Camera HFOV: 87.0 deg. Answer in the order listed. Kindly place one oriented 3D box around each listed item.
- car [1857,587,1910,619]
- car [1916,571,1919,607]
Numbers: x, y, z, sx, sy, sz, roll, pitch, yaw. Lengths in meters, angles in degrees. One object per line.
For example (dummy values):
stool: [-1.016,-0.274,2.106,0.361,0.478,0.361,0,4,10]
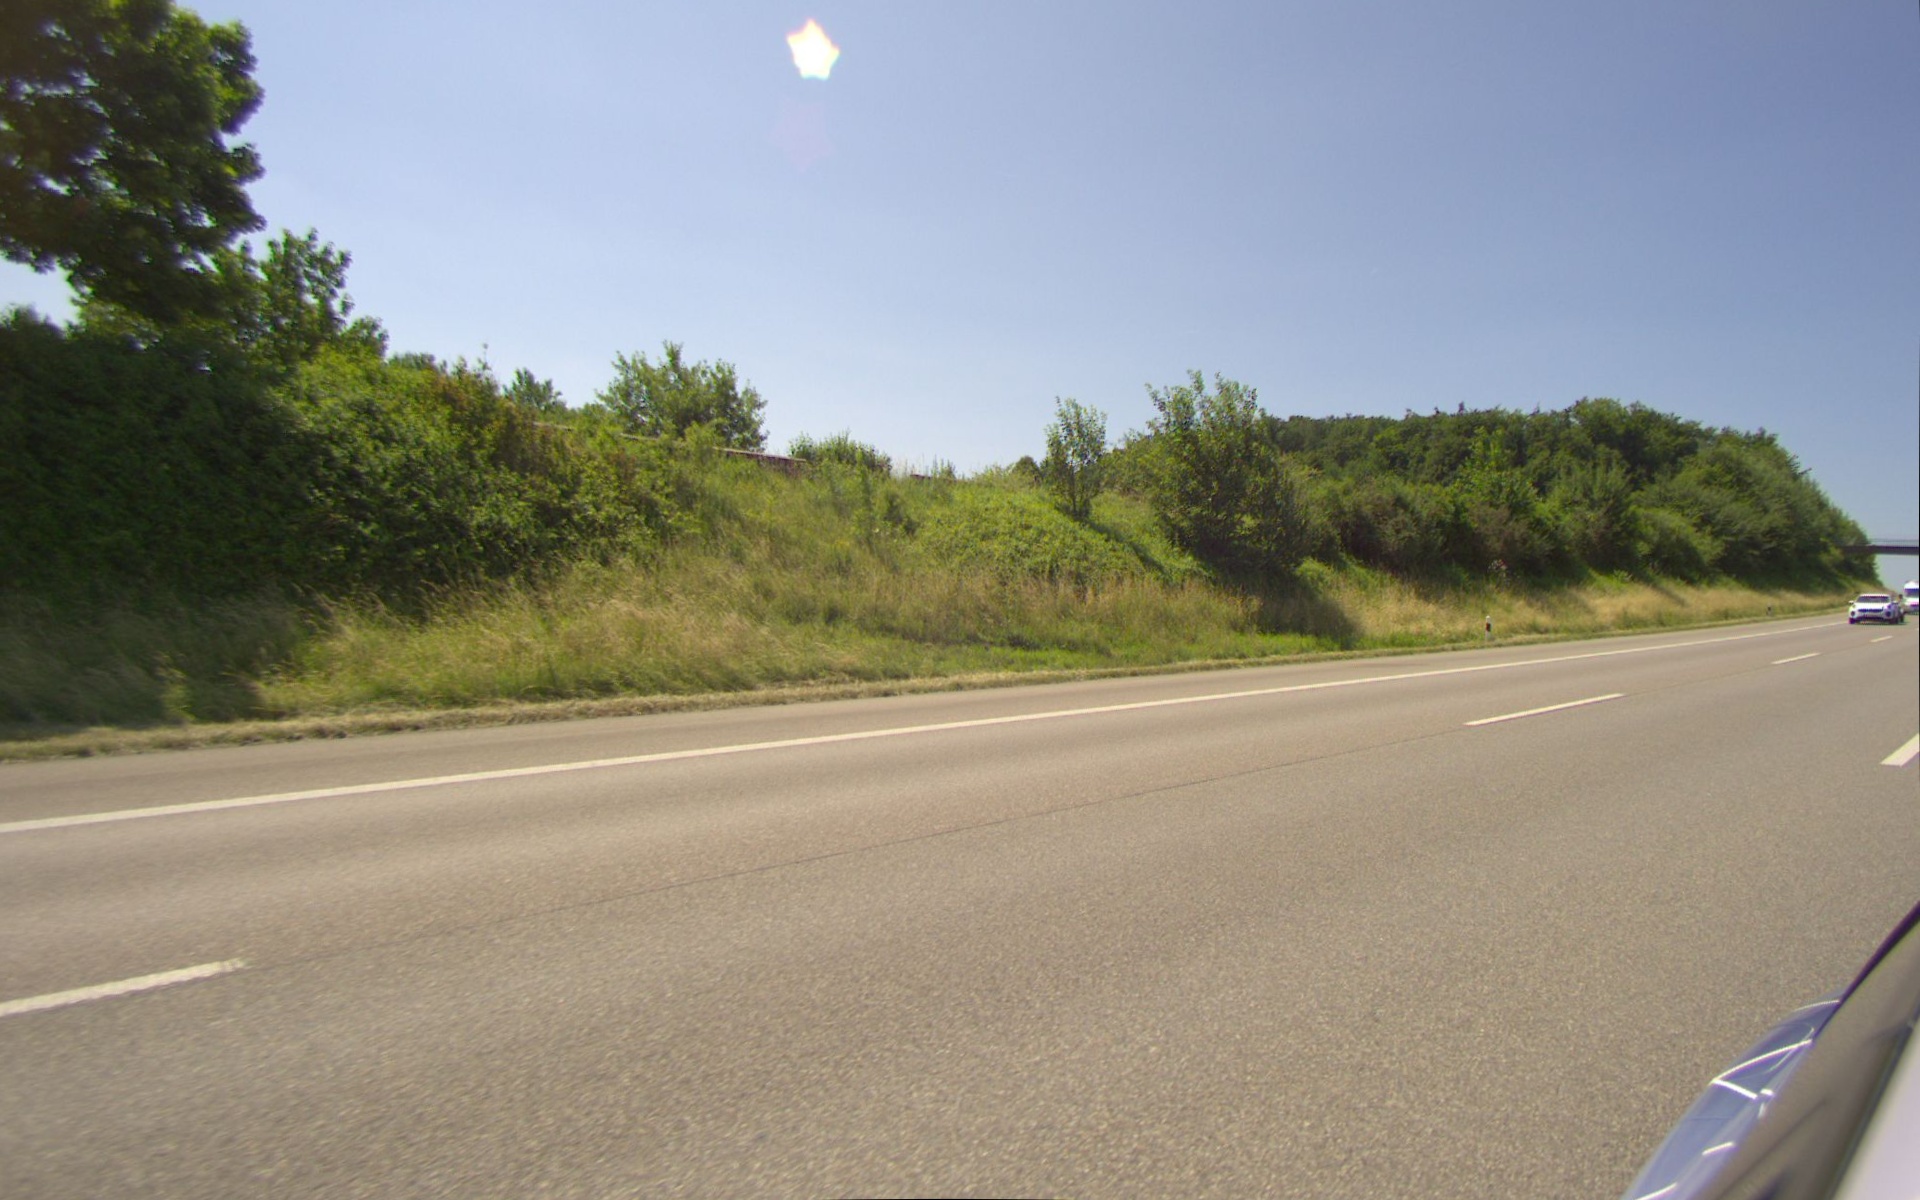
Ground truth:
car: [50.726,0.154,55.566,4.328,1.672,1.783,1,0,-43]
car: [73.725,-0.809,76.355,2.087,2.609,6.522,0,0,41]
